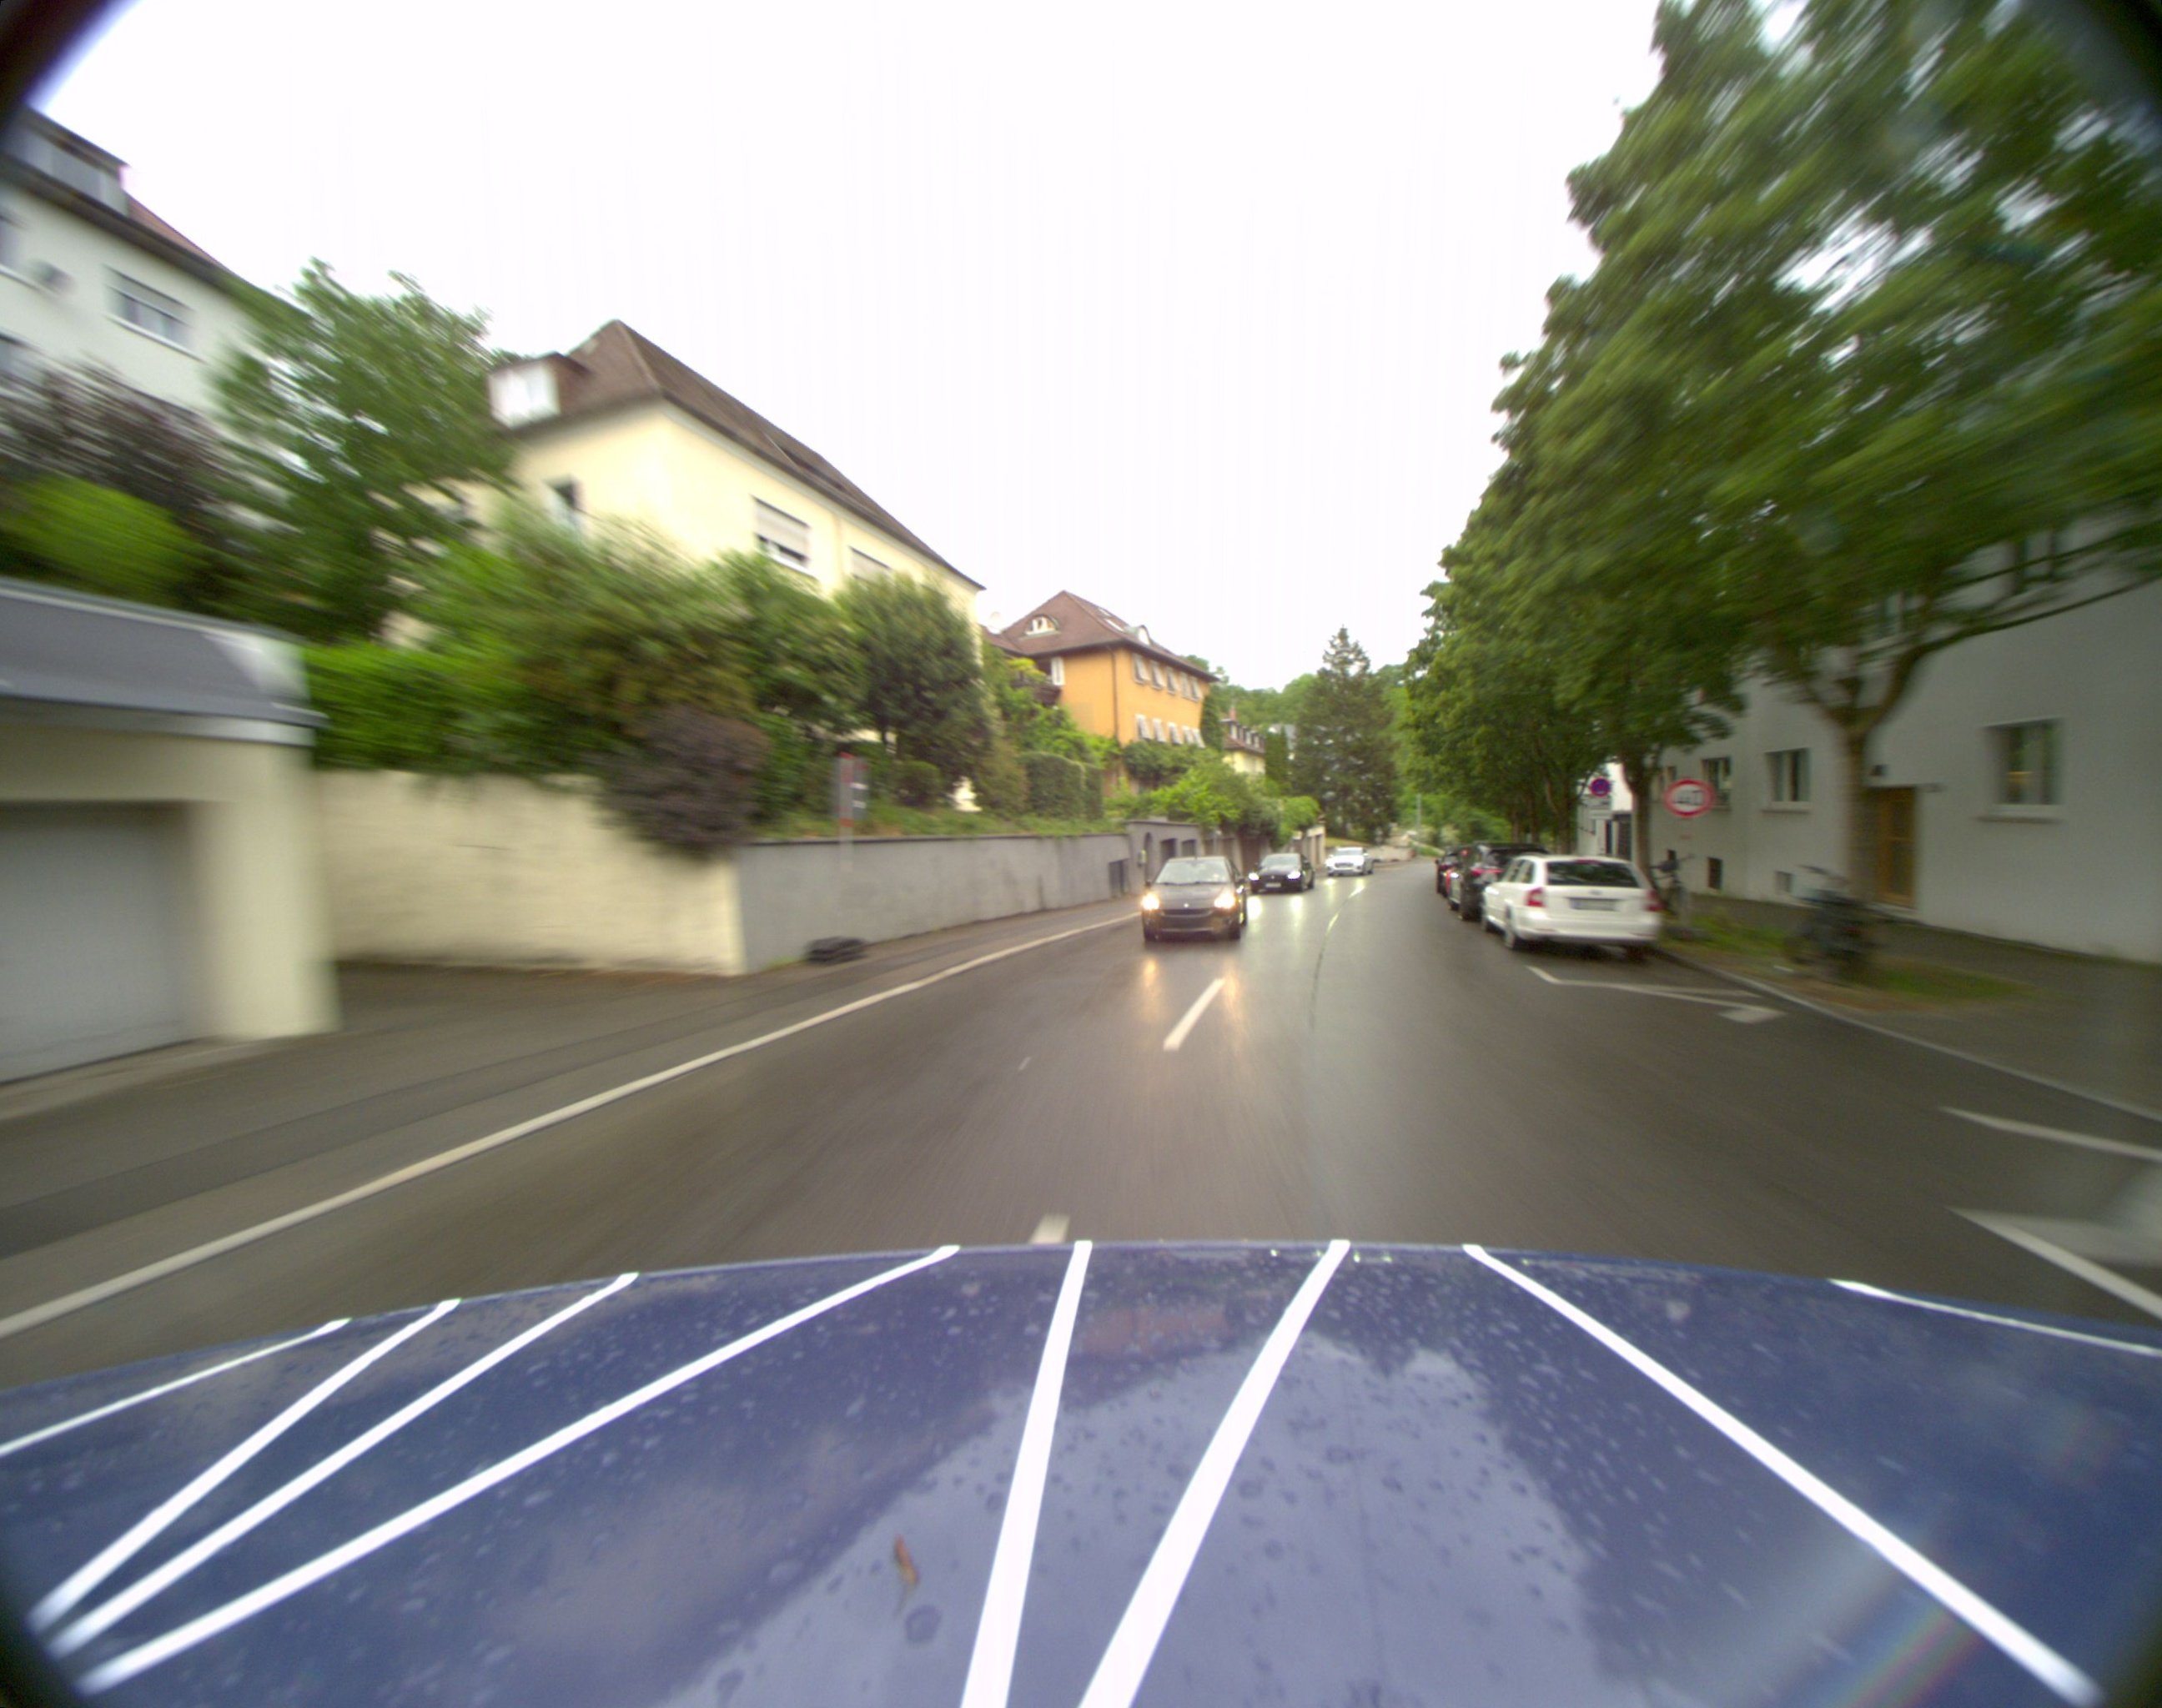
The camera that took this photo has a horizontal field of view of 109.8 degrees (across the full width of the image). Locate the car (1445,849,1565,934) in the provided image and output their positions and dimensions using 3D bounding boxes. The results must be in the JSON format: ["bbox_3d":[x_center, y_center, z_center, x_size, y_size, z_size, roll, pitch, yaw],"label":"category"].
[{"bbox_3d":[9.119,0.686,16.691,1.683,1.599,4.583,0,1,21],"label":"car"}]

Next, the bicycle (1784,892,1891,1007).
[{"bbox_3d":[8.344,0.995,8.444,0.435,1.024,1.909,-1,0,32],"label":"bicycle"}]

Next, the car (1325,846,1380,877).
[{"bbox_3d":[15.582,0.385,43.447,2.008,1.652,4.454,1,1,32],"label":"car"}]

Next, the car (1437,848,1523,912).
[{"bbox_3d":[11.668,0.674,22.424,1.634,1.556,3.853,2,3,19],"label":"car"}]

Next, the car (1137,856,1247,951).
[{"bbox_3d":[2.174,0.829,14.121,1.576,1.444,3.590,-2,1,15],"label":"car"}]

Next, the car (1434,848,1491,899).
[{"bbox_3d":[13.071,0.594,26.088,1.556,1.480,4.104,3,3,26],"label":"car"}]

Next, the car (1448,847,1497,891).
[{"bbox_3d":[15.561,0.533,30.214,1.556,1.502,3.389,3,3,27],"label":"car"}]

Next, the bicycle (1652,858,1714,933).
[{"bbox_3d":[11.028,0.726,13.964,0.619,1.244,1.909,-1,0,30],"label":"bicycle"}]

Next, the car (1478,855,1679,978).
[{"bbox_3d":[7.533,0.803,11.978,1.683,1.500,4.322,1,1,20],"label":"car"}]

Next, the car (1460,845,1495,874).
[{"bbox_3d":[25.137,0.304,48.124,1.618,1.649,3.931,4,4,31],"label":"car"}]

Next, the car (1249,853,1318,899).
[{"bbox_3d":[7.569,0.771,28.113,1.805,1.479,4.024,-5,-2,23],"label":"car"}]
